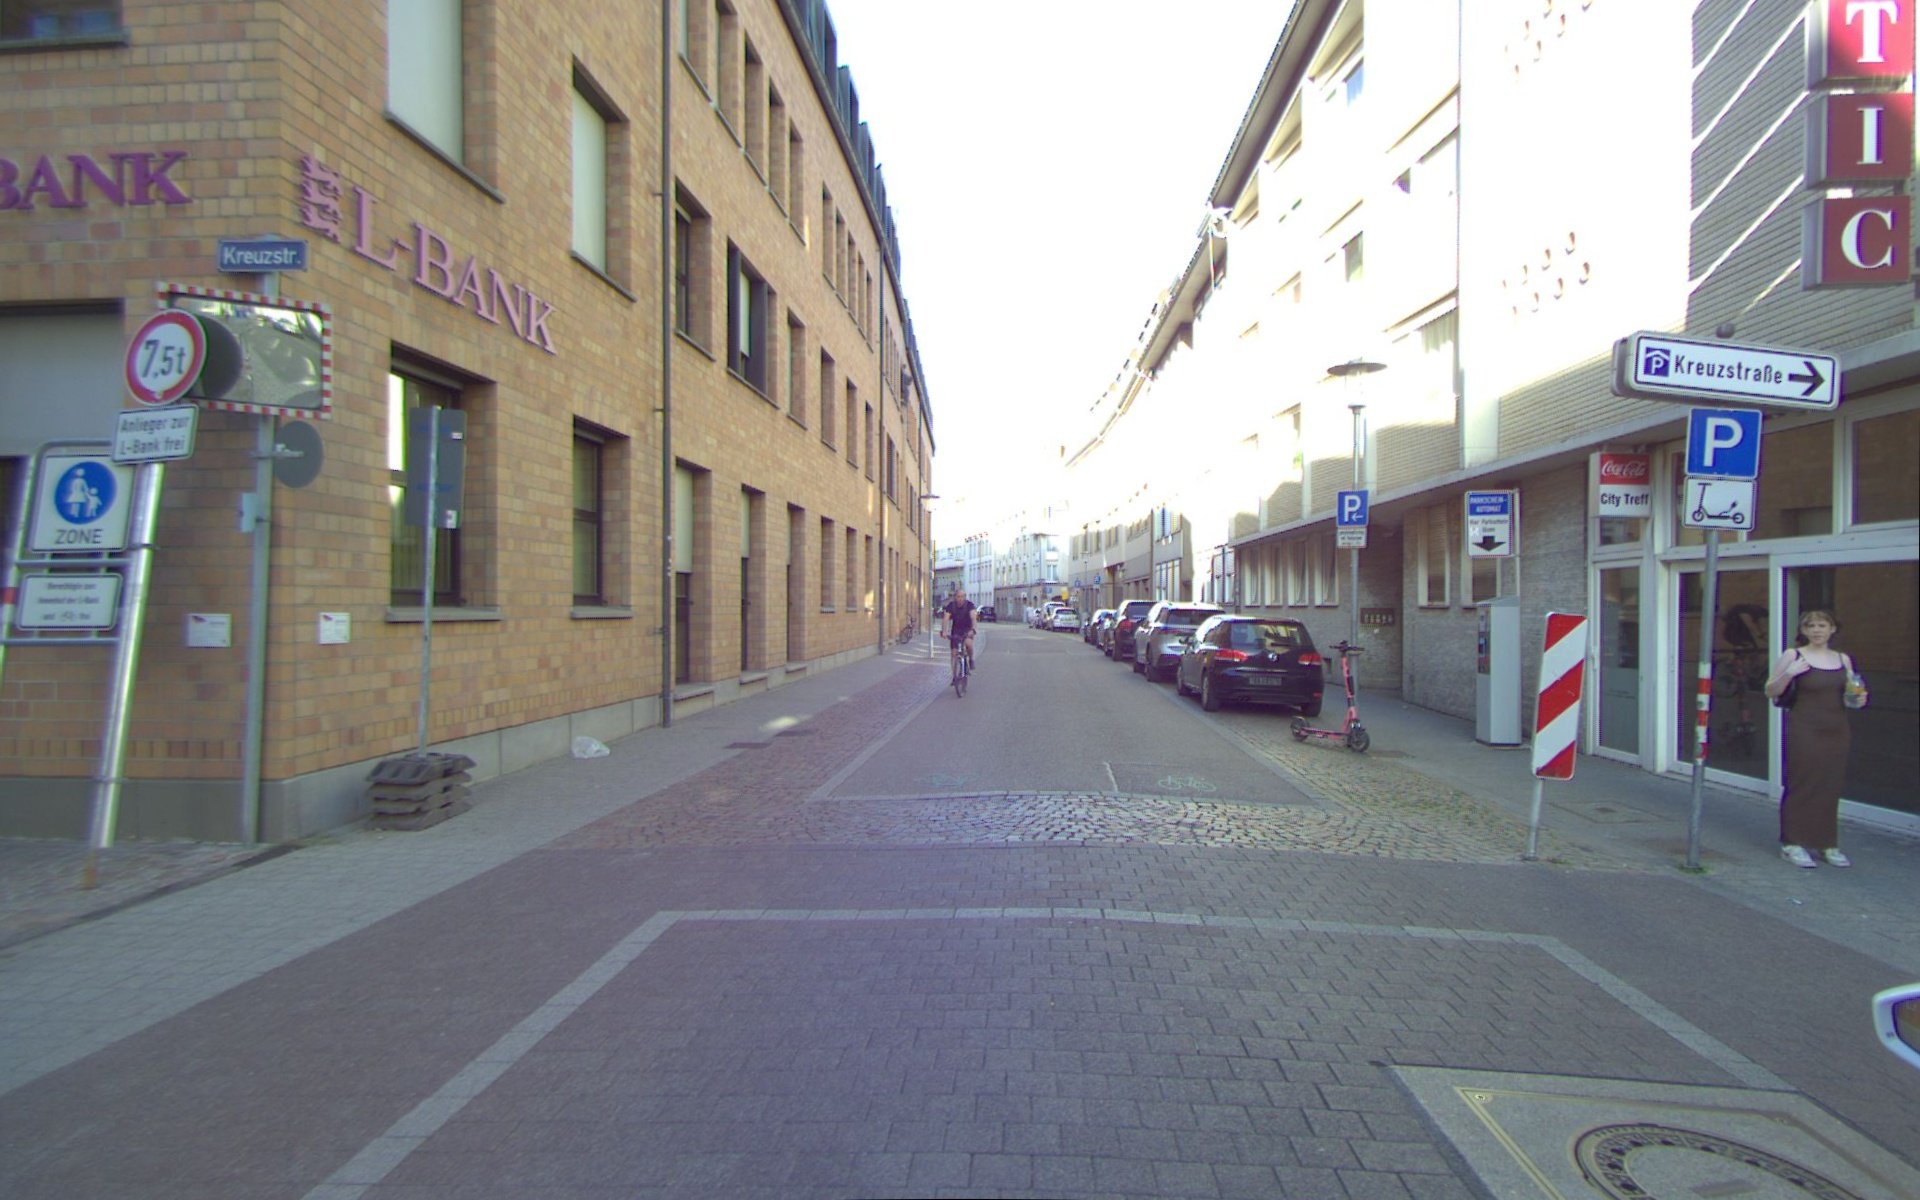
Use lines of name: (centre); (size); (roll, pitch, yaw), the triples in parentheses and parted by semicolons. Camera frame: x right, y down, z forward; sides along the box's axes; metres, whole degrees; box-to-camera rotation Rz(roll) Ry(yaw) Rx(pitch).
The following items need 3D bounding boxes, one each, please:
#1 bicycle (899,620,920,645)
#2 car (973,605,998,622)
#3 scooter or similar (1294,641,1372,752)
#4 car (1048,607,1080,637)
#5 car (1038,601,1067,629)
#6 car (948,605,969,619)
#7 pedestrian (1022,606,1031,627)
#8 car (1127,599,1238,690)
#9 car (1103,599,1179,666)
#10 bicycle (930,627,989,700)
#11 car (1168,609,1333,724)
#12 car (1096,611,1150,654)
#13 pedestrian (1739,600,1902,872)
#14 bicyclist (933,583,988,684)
bicycle: (-1.992, 1.268, 39.560); (0.630, 0.893, 2.557); (1, 0, 1)
car: (2.683, 1.382, 104.739); (1.901, 1.673, 3.830); (0, 0, -10)
scooter or similar: (4.294, 1.090, 11.599); (0.206, 1.199, 0.873); (0, 0, -36)
car: (6.394, 1.344, 62.199); (1.660, 1.701, 3.508); (2, 0, 2)
car: (6.282, 0.995, 68.327); (1.660, 1.799, 3.656); (2, 0, 2)
car: (-0.152, 1.421, 120.883); (1.901, 1.673, 3.830); (1, 0, -10)
pedestrian: (4.683, 1.162, 70.778); (0.560, 1.499, 0.473); (0, 0, -4)
car: (4.641, 0.877, 21.466); (1.640, 1.683, 4.082); (2, 0, 4)
car: (5.121, 0.888, 28.798); (1.640, 1.727, 4.014); (2, 0, 4)
bicycle: (0.018, 1.067, 17.286); (0.691, 1.118, 1.829); (-3, -1, 8)
car: (4.515, 0.956, 16.171); (1.706, 1.506, 3.813); (2, 0, 4)
car: (5.762, 1.124, 35.823); (1.490, 1.409, 3.627); (2, 0, 4)
pedestrian: (5.301, 0.815, 6.215); (0.523, 1.600, 0.511); (-2, -1, 10)
bicyclist: (0.020, 0.575, 17.402); (0.757, 1.677, 0.957); (-2, 0, 9)
